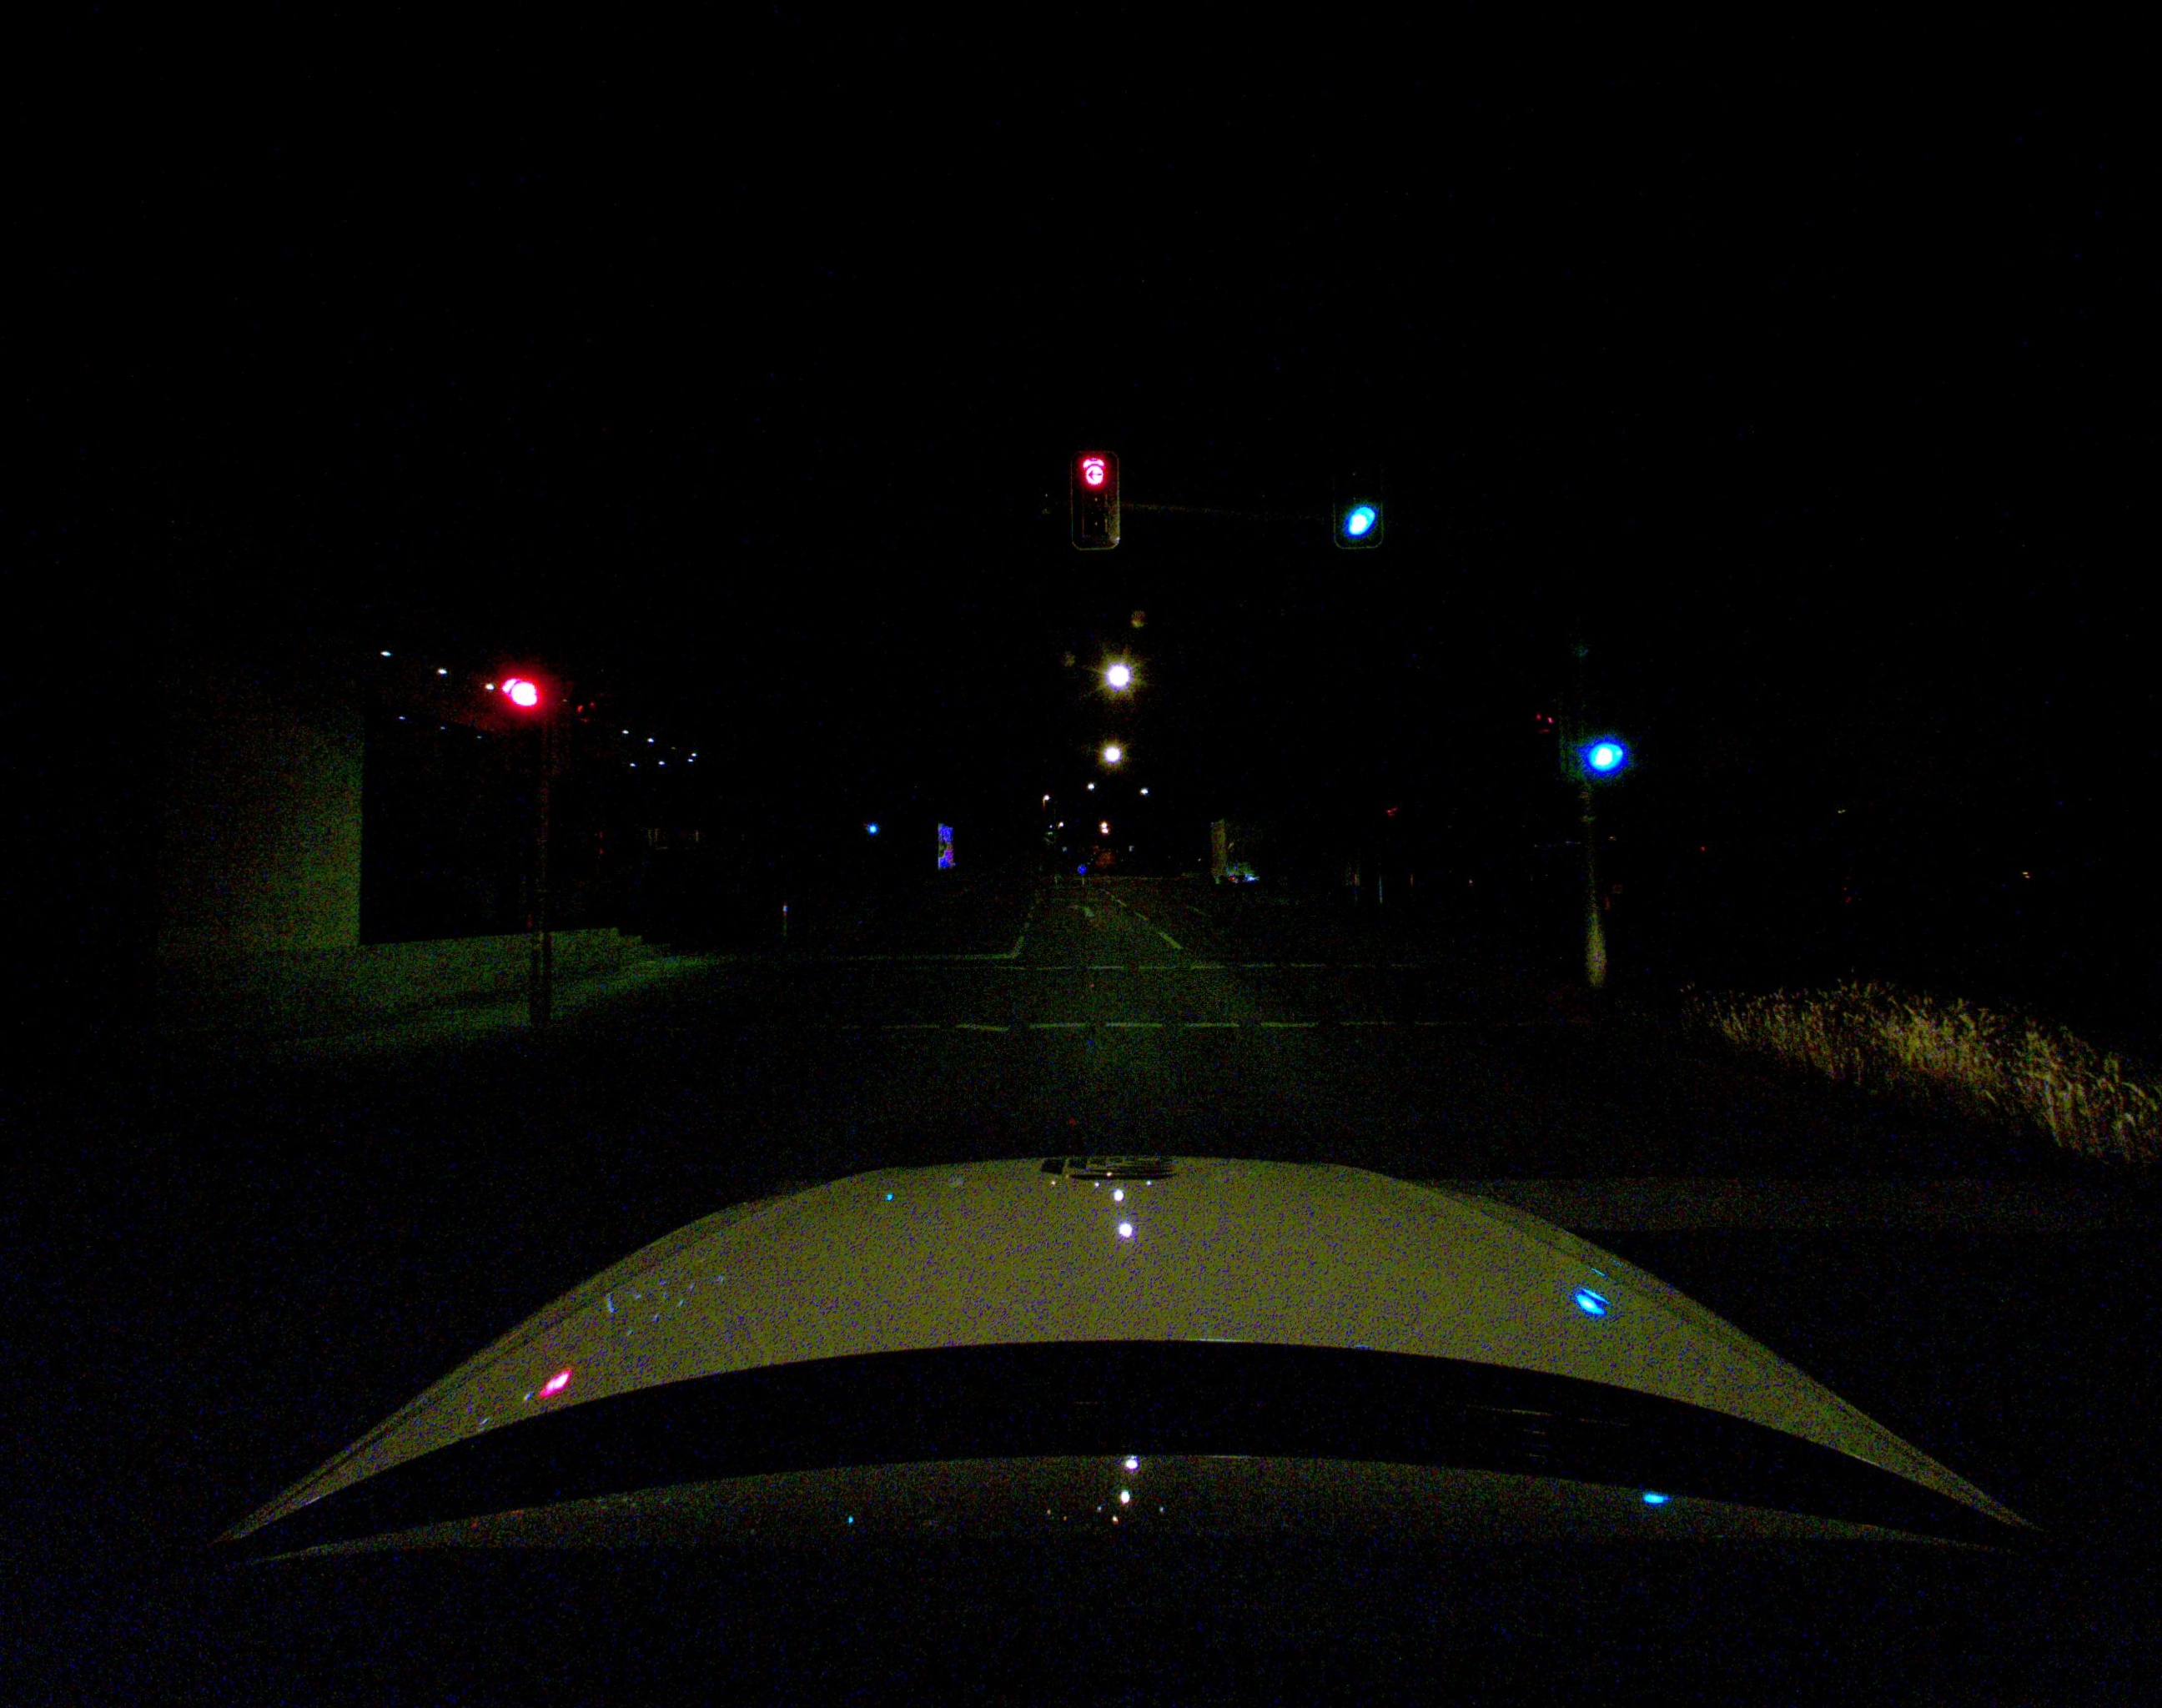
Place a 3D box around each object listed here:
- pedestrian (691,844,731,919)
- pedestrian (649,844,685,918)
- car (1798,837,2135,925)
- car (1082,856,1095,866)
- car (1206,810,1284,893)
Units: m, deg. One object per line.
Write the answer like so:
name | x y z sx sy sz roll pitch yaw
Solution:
pedestrian | -9.042 0.668 19.915 0.568 1.778 0.737 1 -1 1
pedestrian | -9.899 0.640 19.482 0.568 1.731 0.544 0 -1 1
car | 17.453 0.566 16.294 4.342 1.560 1.807 -2 -3 8
car | 1.259 1.172 134.614 1.901 1.557 3.906 0 -1 2
car | 6.762 -0.080 34.235 2.287 3.093 5.845 -2 -1 3
